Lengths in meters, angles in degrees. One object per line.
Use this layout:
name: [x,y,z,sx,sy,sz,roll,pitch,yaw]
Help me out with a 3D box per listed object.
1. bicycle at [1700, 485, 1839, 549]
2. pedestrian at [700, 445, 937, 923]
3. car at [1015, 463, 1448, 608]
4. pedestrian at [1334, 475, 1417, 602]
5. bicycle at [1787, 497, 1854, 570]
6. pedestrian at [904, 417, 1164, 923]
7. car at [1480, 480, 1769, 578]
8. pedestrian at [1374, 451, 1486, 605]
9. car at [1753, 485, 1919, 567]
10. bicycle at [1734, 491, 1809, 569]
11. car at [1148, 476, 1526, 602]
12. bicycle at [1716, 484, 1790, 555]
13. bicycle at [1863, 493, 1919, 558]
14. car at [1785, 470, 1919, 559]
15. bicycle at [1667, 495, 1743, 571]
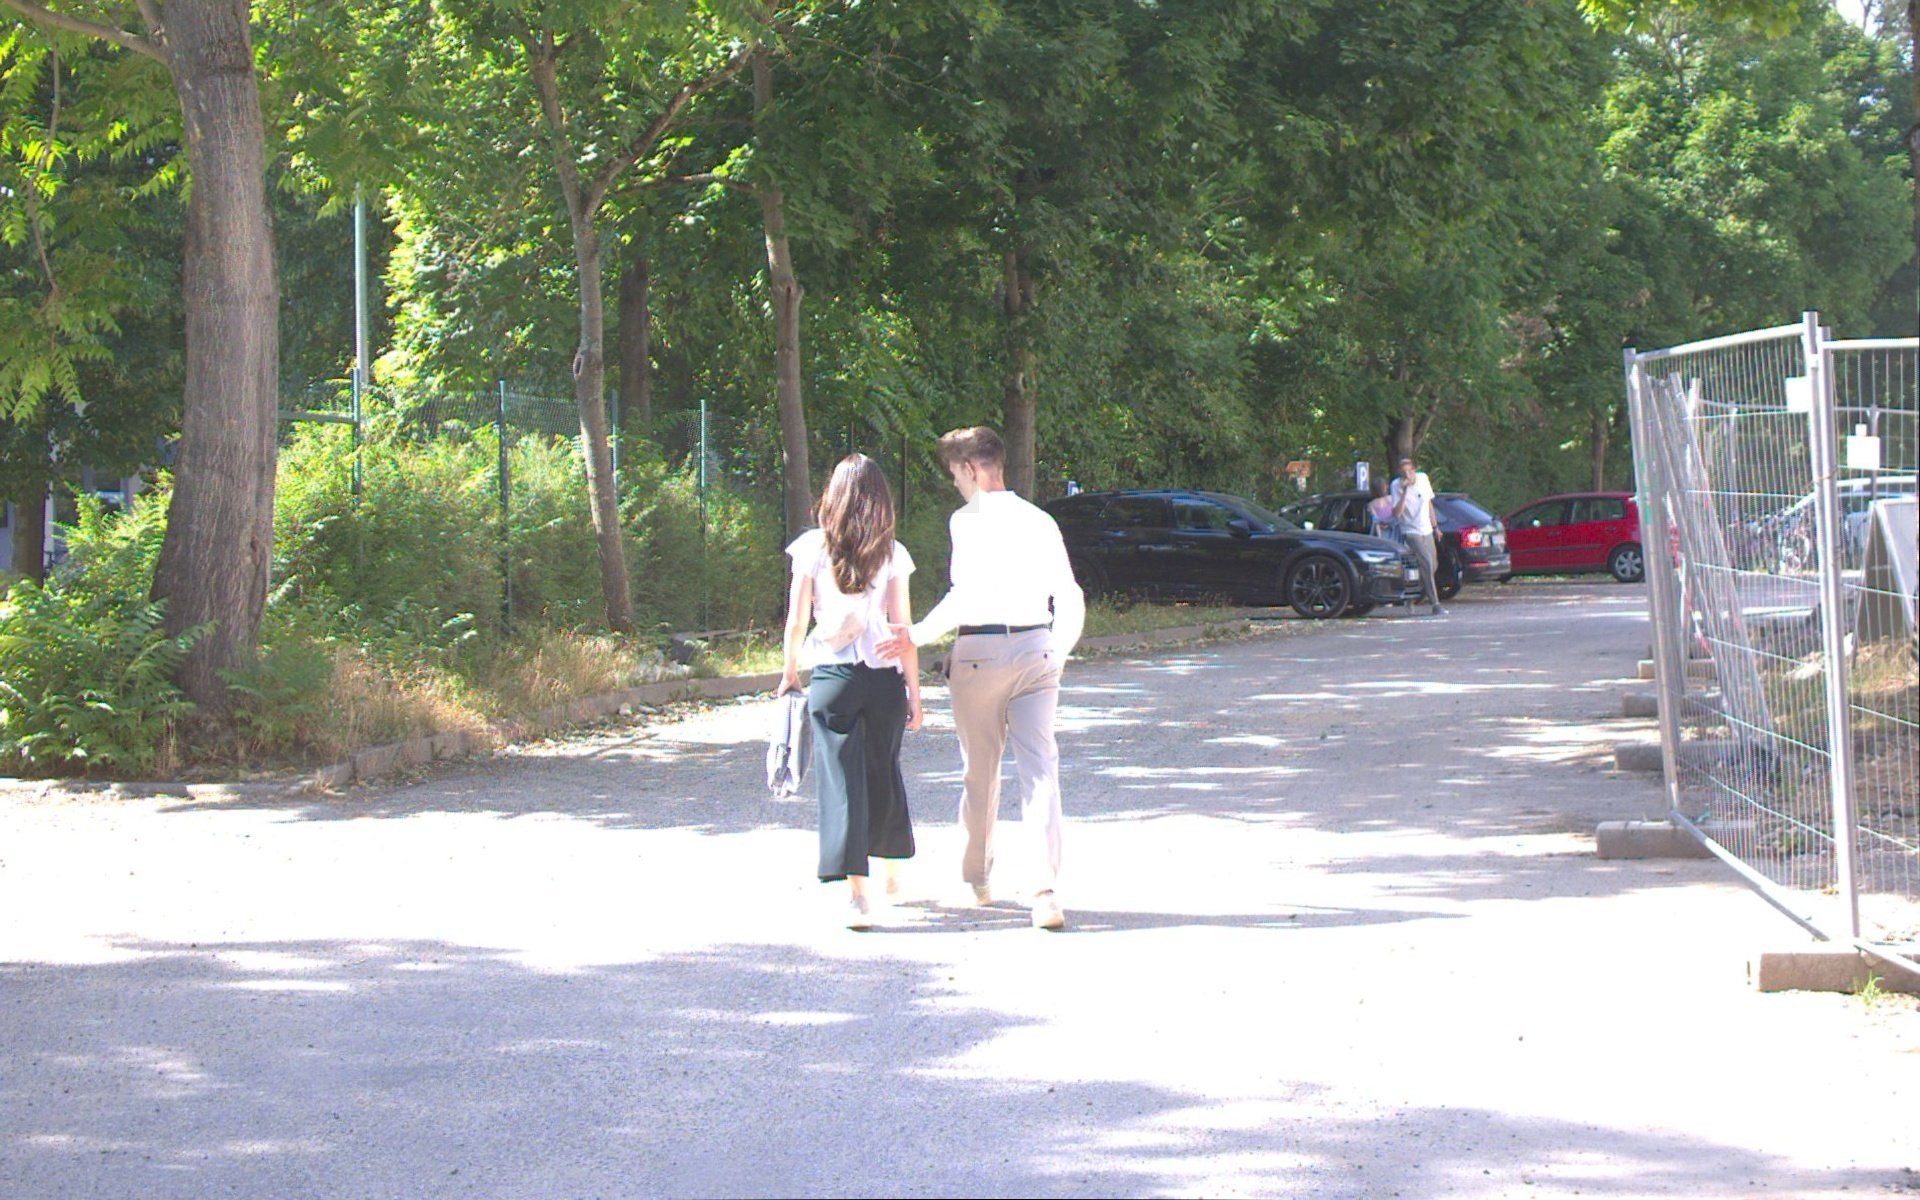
bicycle: [16.434,-1.681,69.814,2.677,1.280,0.818,0,2,19]
pedestrian: [-0.513,0.271,12.228,0.735,1.634,0.781,-1,3,-9]
car: [3.153,-0.753,39.674,4.659,1.579,1.999,0,3,16]
pedestrian: [5.285,-0.783,43.686,0.925,1.589,0.785,0,3,17]
bicycle: [15.697,-1.221,62.677,0.715,1.280,2.634,0,2,25]
pedestrian: [0.250,0.219,12.227,0.755,1.722,0.854,-1,3,-10]
car: [10.785,-1.148,55.770,4.291,1.519,1.890,0,2,23]
pedestrian: [5.504,-0.852,40.248,0.817,1.775,1.017,-2,2,-34]
car: [19.797,-1.651,76.258,3.993,1.765,1.765,0,2,28]
bicycle: [13.734,-1.193,58.104,0.715,1.280,2.680,0,2,25]
car: [4.984,-0.812,45.299,4.659,1.579,1.999,0,3,16]
bicycle: [14.815,-1.510,64.165,0.817,1.280,2.680,0,2,25]
bicycle: [18.952,-1.520,69.611,0.817,1.280,2.743,0,2,25]
car: [21.152,-1.975,78.923,3.993,2.006,1.765,0,2,28]
bicycle: [12.963,-1.182,59.765,0.715,1.280,2.787,0,2,25]
